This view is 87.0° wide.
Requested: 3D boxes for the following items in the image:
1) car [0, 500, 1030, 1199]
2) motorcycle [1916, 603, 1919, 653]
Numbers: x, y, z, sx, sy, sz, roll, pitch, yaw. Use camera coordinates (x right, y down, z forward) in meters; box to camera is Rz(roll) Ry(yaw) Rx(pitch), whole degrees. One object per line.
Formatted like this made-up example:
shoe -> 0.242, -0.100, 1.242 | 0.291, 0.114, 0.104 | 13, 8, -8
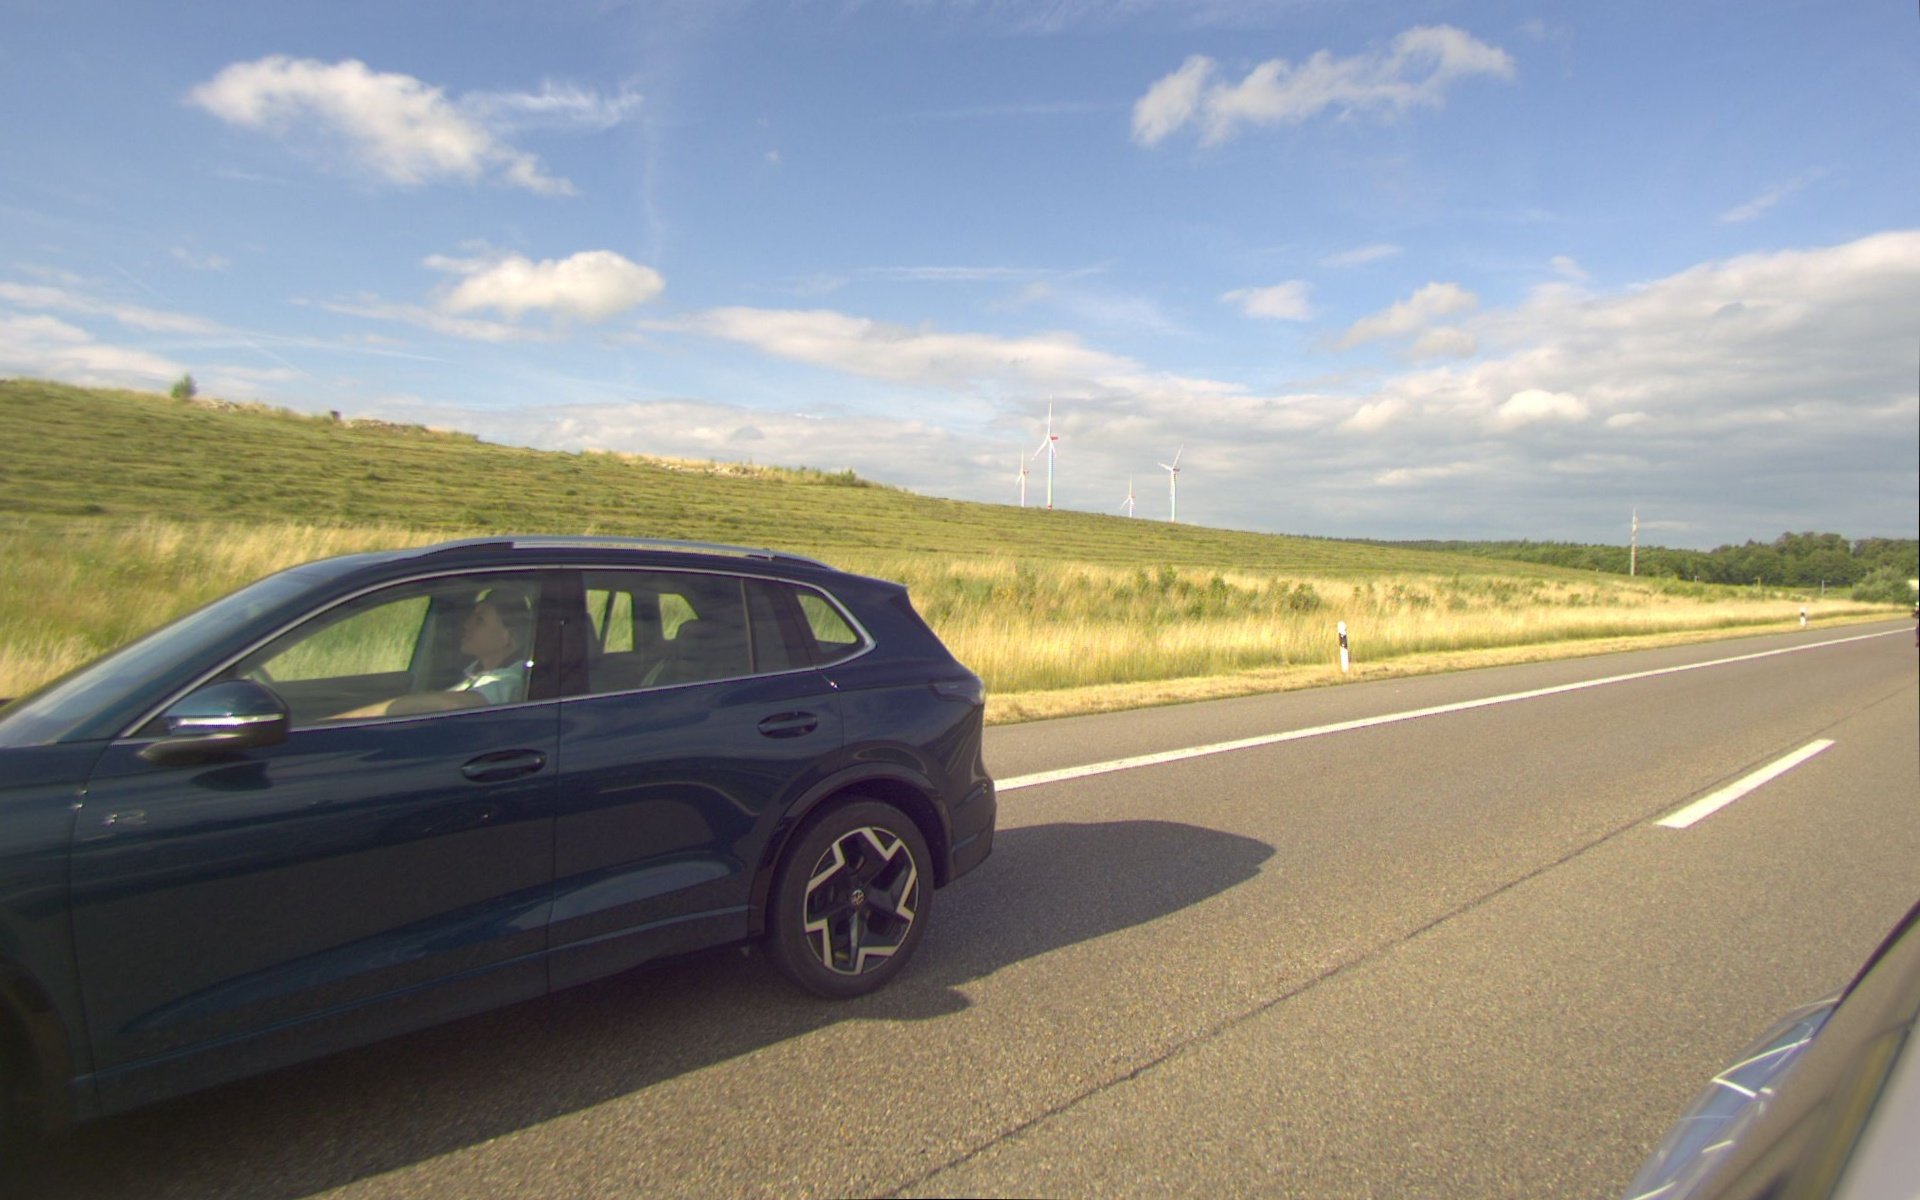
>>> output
car -> -1.873, 0.589, 3.517 | 4.160, 1.621, 1.824 | 0, 0, -41
motorcycle -> 24.310, 0.665, 24.932 | 2.218, 1.205, 0.897 | -1, 1, -42
